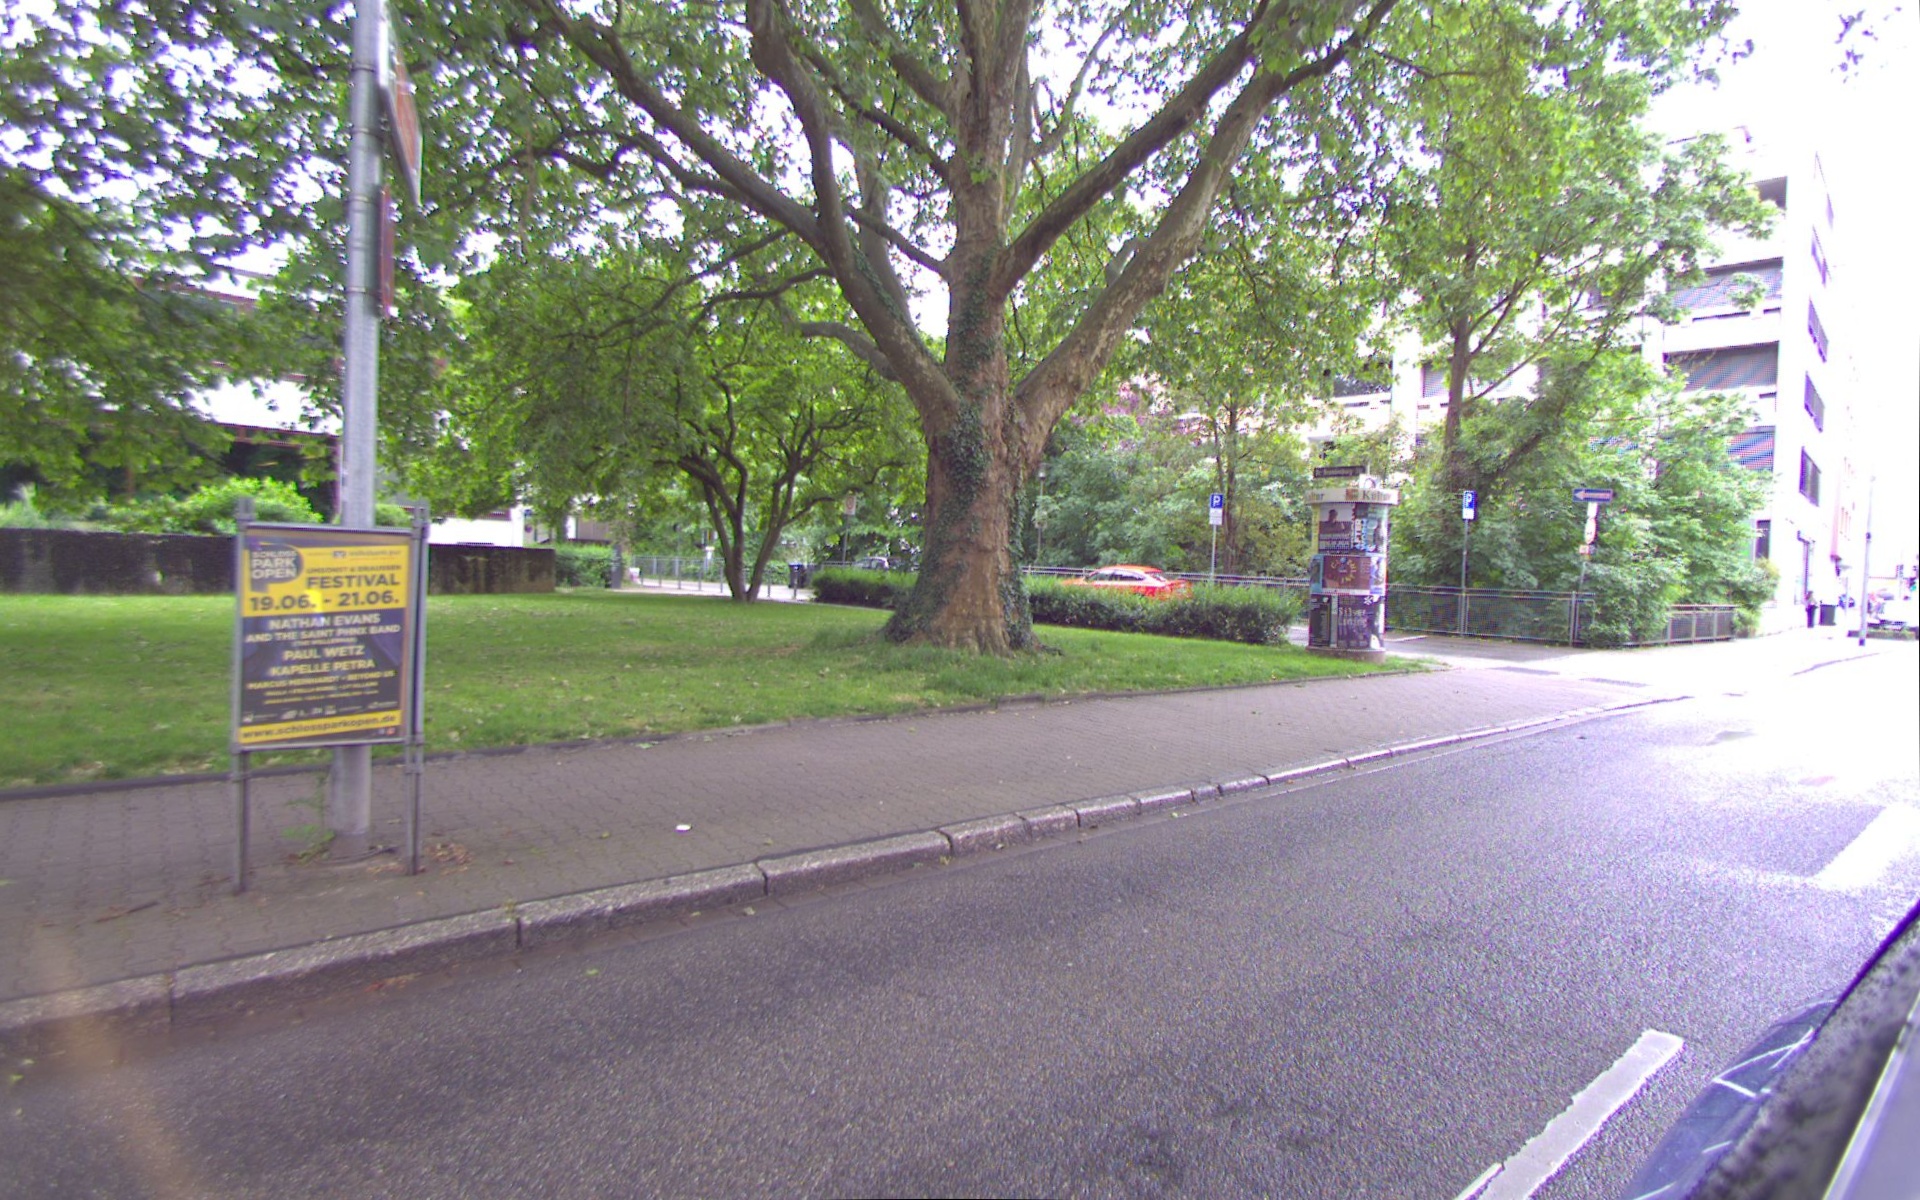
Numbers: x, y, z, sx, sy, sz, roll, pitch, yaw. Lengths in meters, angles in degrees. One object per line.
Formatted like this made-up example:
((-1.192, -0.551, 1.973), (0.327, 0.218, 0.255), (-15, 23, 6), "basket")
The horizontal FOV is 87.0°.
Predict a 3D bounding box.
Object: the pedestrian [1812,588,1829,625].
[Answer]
((36.088, 0.282, 42.449), (0.473, 1.549, 0.480), (0, 0, -41), "pedestrian")

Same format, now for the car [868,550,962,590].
((-1.668, -1.102, 36.651), (3.460, 1.294, 1.426), (5, 4, 45), "car")

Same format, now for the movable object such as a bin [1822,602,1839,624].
((41.908, 0.618, 48.715), (0.287, 1.054, 0.556), (0, 3, -41), "movable object such as a bin")

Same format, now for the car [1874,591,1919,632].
((37.402, 0.453, 39.741), (3.617, 1.449, 1.681), (0, 5, -41), "car")

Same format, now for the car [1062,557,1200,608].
((4.939, -0.539, 29.543), (1.551, 1.294, 3.784), (-1, 4, -44), "car")
